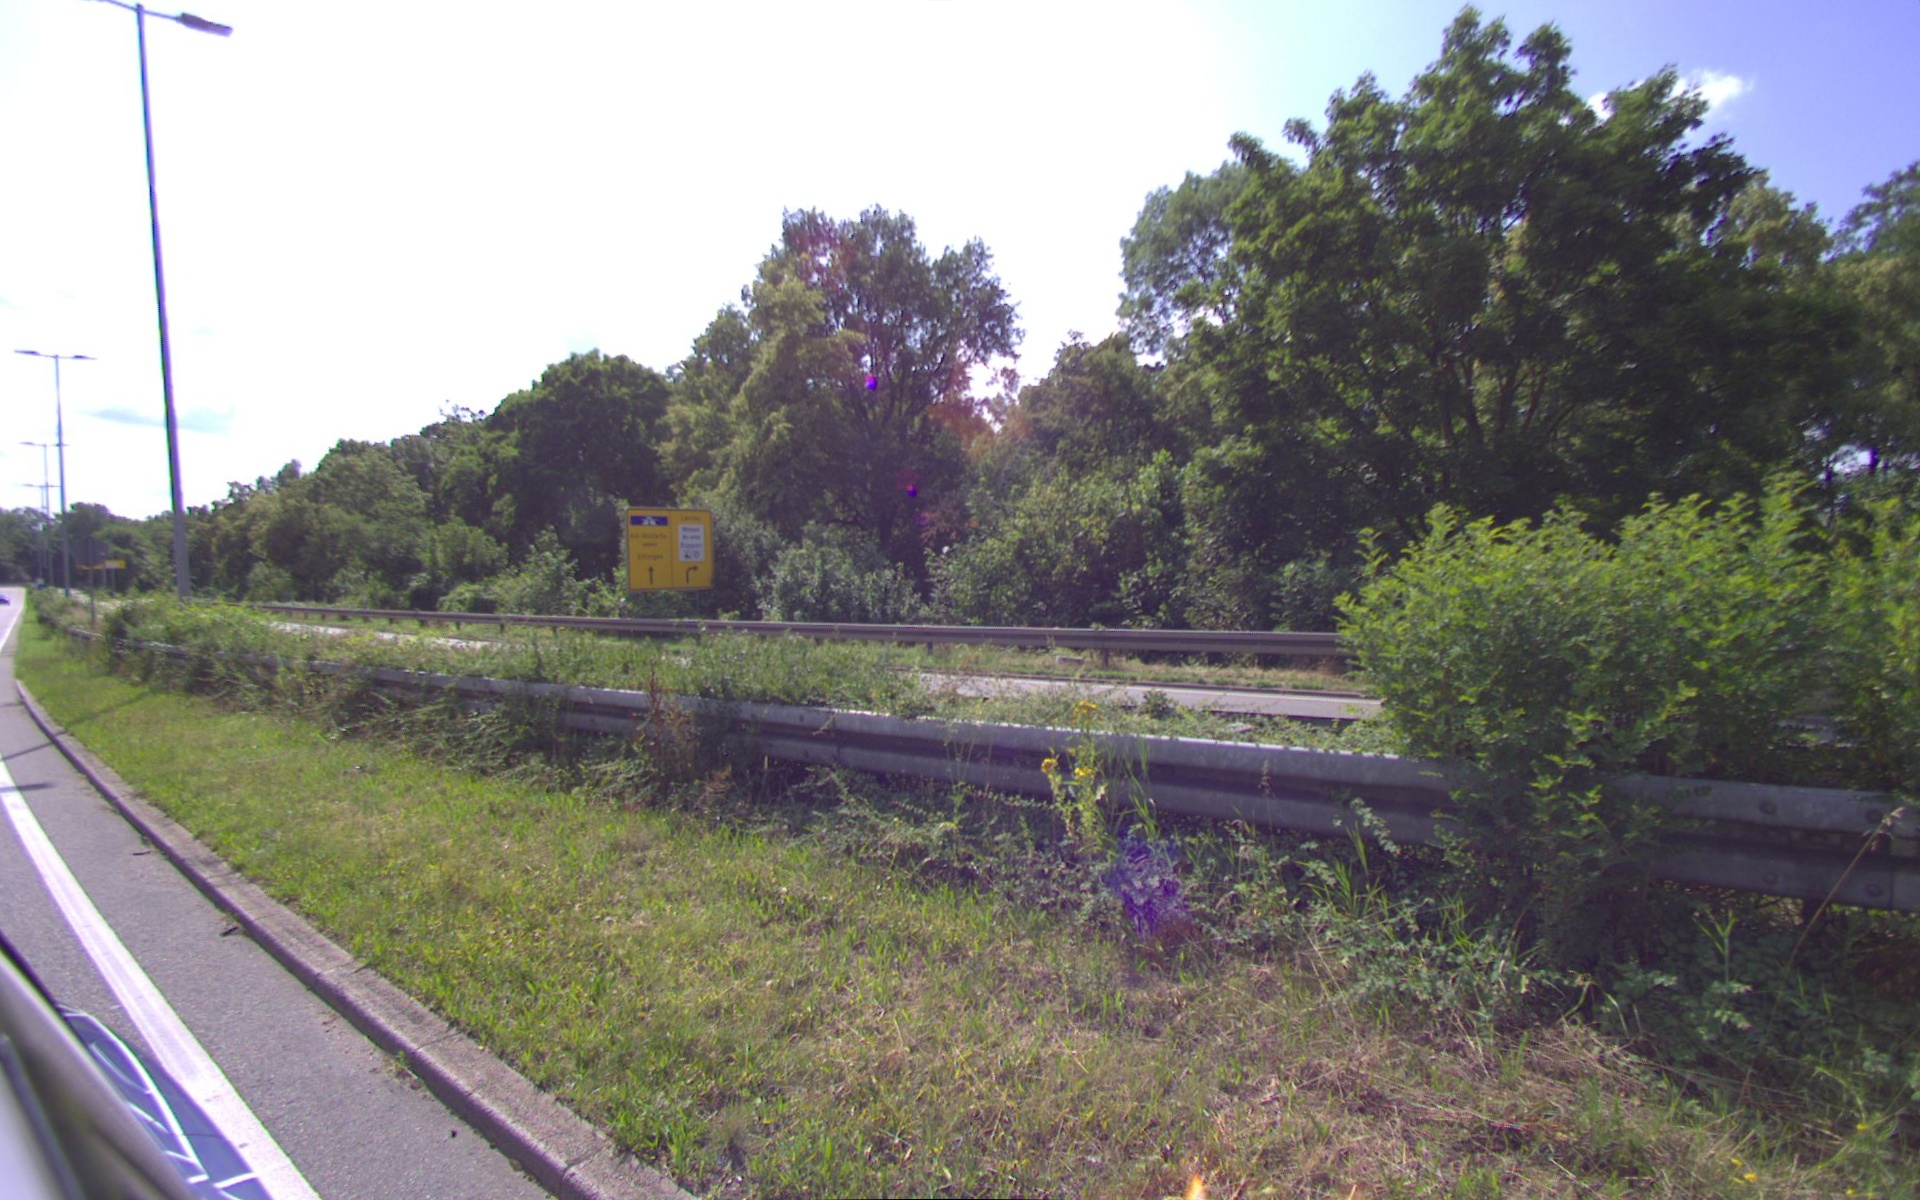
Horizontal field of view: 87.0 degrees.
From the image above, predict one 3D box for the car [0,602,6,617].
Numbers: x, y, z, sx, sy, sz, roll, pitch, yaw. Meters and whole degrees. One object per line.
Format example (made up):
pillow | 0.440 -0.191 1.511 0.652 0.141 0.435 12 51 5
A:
car | -138.181 1.356 144.955 4.001 2.029 1.950 0 0 44
